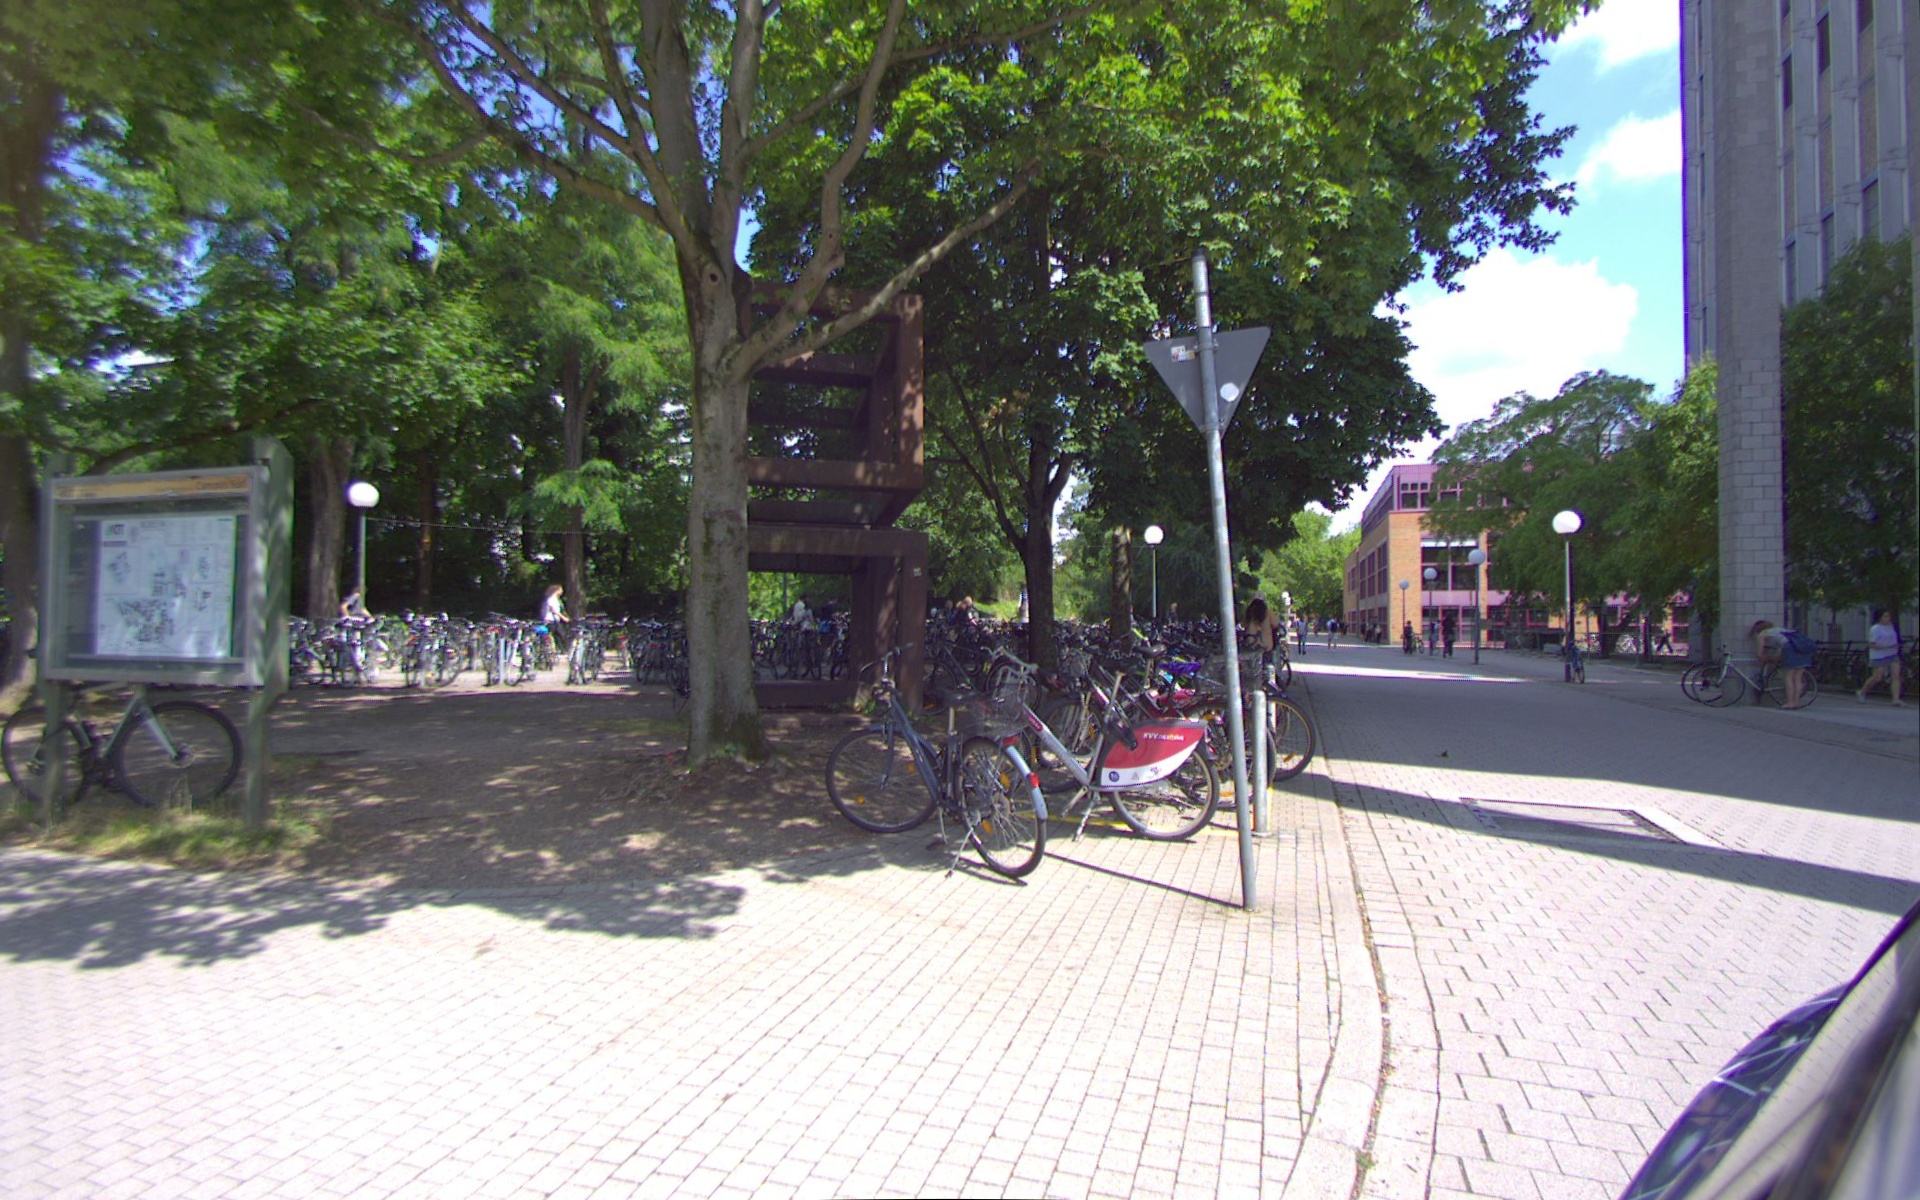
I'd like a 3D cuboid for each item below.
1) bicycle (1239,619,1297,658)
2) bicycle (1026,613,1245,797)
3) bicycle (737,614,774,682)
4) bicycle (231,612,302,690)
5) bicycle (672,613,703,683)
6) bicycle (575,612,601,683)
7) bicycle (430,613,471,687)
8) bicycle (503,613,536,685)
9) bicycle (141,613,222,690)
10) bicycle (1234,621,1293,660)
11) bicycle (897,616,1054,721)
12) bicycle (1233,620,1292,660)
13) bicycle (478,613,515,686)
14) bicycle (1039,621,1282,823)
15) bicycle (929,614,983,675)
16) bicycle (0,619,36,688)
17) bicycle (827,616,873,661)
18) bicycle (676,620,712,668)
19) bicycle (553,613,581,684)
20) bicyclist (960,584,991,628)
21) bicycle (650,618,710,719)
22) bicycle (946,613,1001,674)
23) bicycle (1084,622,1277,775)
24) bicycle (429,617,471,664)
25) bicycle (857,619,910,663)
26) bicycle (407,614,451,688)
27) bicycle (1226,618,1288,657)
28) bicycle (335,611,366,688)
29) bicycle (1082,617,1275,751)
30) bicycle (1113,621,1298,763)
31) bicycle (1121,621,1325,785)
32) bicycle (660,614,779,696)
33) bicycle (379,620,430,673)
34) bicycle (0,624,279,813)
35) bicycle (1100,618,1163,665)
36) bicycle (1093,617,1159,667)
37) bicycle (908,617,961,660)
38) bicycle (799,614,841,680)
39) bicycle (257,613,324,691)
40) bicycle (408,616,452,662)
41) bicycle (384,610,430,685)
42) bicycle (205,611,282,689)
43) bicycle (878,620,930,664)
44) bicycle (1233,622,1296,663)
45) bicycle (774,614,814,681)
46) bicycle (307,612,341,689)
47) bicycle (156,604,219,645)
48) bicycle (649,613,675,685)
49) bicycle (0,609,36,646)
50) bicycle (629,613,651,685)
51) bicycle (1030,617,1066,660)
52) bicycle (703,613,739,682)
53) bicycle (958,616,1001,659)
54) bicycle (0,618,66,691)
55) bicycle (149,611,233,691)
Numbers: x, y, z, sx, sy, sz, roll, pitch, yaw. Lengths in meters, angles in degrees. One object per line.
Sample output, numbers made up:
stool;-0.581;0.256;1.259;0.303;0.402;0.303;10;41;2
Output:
bicycle;9.549;1.193;31.414;1.663;1.165;0.548;1;-3;14
bicycle;1.252;0.705;7.389;1.518;1.155;0.485;2;1;39
bicycle;-3.860;0.870;19.061;0.405;1.185;1.849;1;0;-20
bicycle;-11.300;0.796;16.540;0.338;1.185;1.849;1;0;-15
bicycle;-4.944;0.835;18.324;0.380;1.185;1.849;1;0;-20
bicycle;-6.660;0.824;18.157;0.345;1.185;1.849;1;0;-18
bicycle;-8.727;0.831;17.381;0.338;1.185;1.849;1;0;-18
bicycle;-7.721;0.828;17.772;0.345;1.185;1.849;1;0;-18
bicycle;-12.787;0.810;16.669;0.394;1.185;1.797;1;0;-15
bicycle;9.028;1.196;30.144;1.663;1.098;0.526;1;-3;14
bicycle;0.167;0.772;11.839;1.810;1.091;0.459;2;1;27
bicycle;9.223;1.215;30.882;1.663;1.165;0.548;1;-3;14
bicycle;-8.072;0.831;17.665;0.345;1.185;1.849;1;0;-18
bicycle;1.302;0.745;6.593;1.469;1.155;0.558;1;1;17
bicycle;-0.105;0.888;20.775;0.338;1.185;1.848;1;-1;-26
bicycle;-15.303;0.846;15.794;0.417;1.083;1.796;1;0;-11
bicycle;-2.625;0.884;24.004;0.469;0.991;1.907;0;0;-25
bicycle;-6.001;0.972;22.801;0.469;0.991;1.907;0;0;-24
bicycle;-6.990;0.829;18.037;0.345;1.185;1.849;1;0;-18
bicyclist;0.526;0.204;33.922;0.786;1.465;0.746;1;-1;-24
bicycle;-3.444;0.783;12.347;0.619;1.124;1.928;-1;-1;-18
bicycle;0.262;0.873;20.800;0.338;1.185;1.848;1;-1;-26
bicycle;1.776;0.759;8.168;1.456;1.099;0.458;2;1;21
bicycle;-11.749;0.920;23.361;0.371;0.991;1.907;0;0;-11
bicycle;-1.873;0.980;24.538;0.469;0.991;1.905;0;0;-30
bicycle;-9.043;0.835;17.281;0.338;1.185;1.849;1;0;-18
bicycle;8.654;1.087;29.490;1.673;1.098;0.523;0;-3;30
bicycle;-10.119;0.789;16.819;0.338;1.185;1.847;1;-1;-28
bicycle;2.016;0.747;9.405;1.678;1.099;0.478;2;1;25
bicycle;2.136;0.769;8.843;1.499;1.099;0.478;2;1;25
bicycle;1.957;0.741;7.605;1.421;1.099;0.458;1;1;17
bicycle;-3.497;0.786;14.708;1.635;1.124;0.476;-1;-1;-18
bicycle;-11.430;0.938;20.869;0.371;0.991;1.907;0;0;-11
bicycle;-5.437;0.743;6.516;1.655;1.098;0.629;-2;-3;-4
bicycle;4.055;0.973;24.011;1.446;1.097;0.352;0;-1;7
bicycle;3.789;0.951;23.130;1.451;1.097;0.351;0;-1;16
bicycle;-0.659;0.949;25.307;0.469;0.991;1.905;0;0;-30
bicycle;-2.691;0.865;19.269;0.405;1.185;1.849;1;0;-20
bicycle;-10.961;0.813;16.612;0.338;1.185;1.849;1;0;-15
bicycle;-12.154;0.874;23.259;0.371;0.991;1.907;0;0;-11
bicycle;-9.367;0.772;17.180;0.338;1.185;1.849;1;0;-18
bicycle;-11.678;0.784;16.543;0.394;1.185;1.849;1;0;-15
bicycle;-1.398;1.017;24.940;0.469;0.991;1.905;0;0;-30
bicycle;8.627;1.197;28.747;1.663;1.098;0.526;1;-3;14
bicycle;-3.147;0.866;19.097;0.405;1.185;1.849;1;0;-20
bicycle;-10.447;0.796;16.654;0.338;1.185;1.847;1;-1;-28
bicycle;-21.103;0.658;27.688;0.469;1.052;1.754;0;0;-3
bicycle;-5.289;0.840;17.946;0.380;1.185;1.849;1;0;-18
bicycle;-26.300;0.760;27.511;0.601;0.991;1.960;0;0;-1
bicycle;-5.702;0.838;18.001;0.345;1.185;1.849;1;0;-18
bicycle;2.348;1.026;27.045;0.444;1.098;1.474;3;-3;-16
bicycle;-4.415;0.849;18.638;0.405;1.185;1.849;1;0;-20
bicycle;0.487;0.936;25.678;0.468;0.991;1.908;0;0;-19
bicycle;-14.879;0.842;15.875;0.417;1.083;1.796;1;0;-11
bicycle;-12.236;0.776;16.153;0.394;1.185;1.797;1;0;-15
